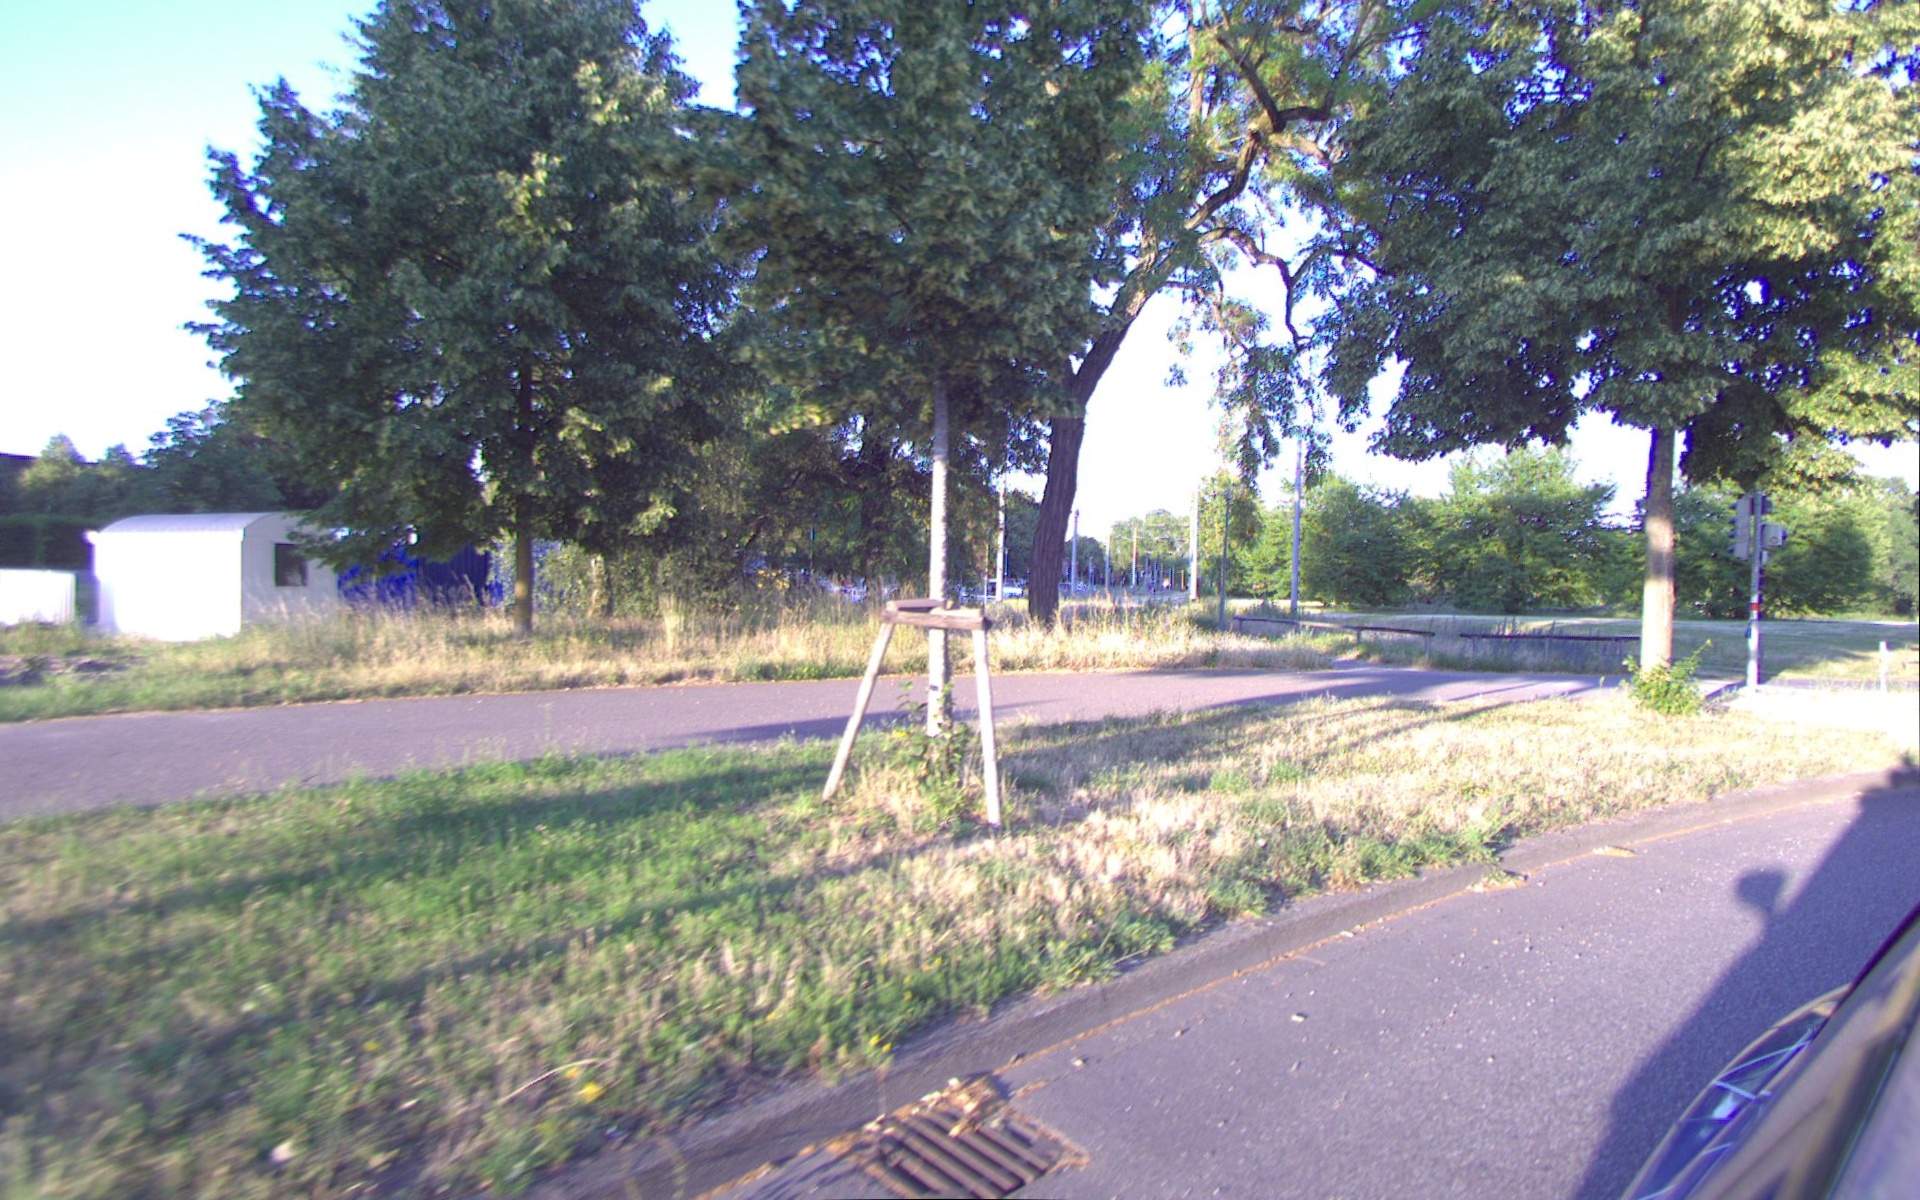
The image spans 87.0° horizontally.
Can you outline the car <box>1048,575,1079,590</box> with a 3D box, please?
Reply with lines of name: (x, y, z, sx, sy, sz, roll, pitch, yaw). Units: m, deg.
car: (12.221, -2.064, 119.474, 3.551, 1.500, 1.707, 3, 0, 8)
